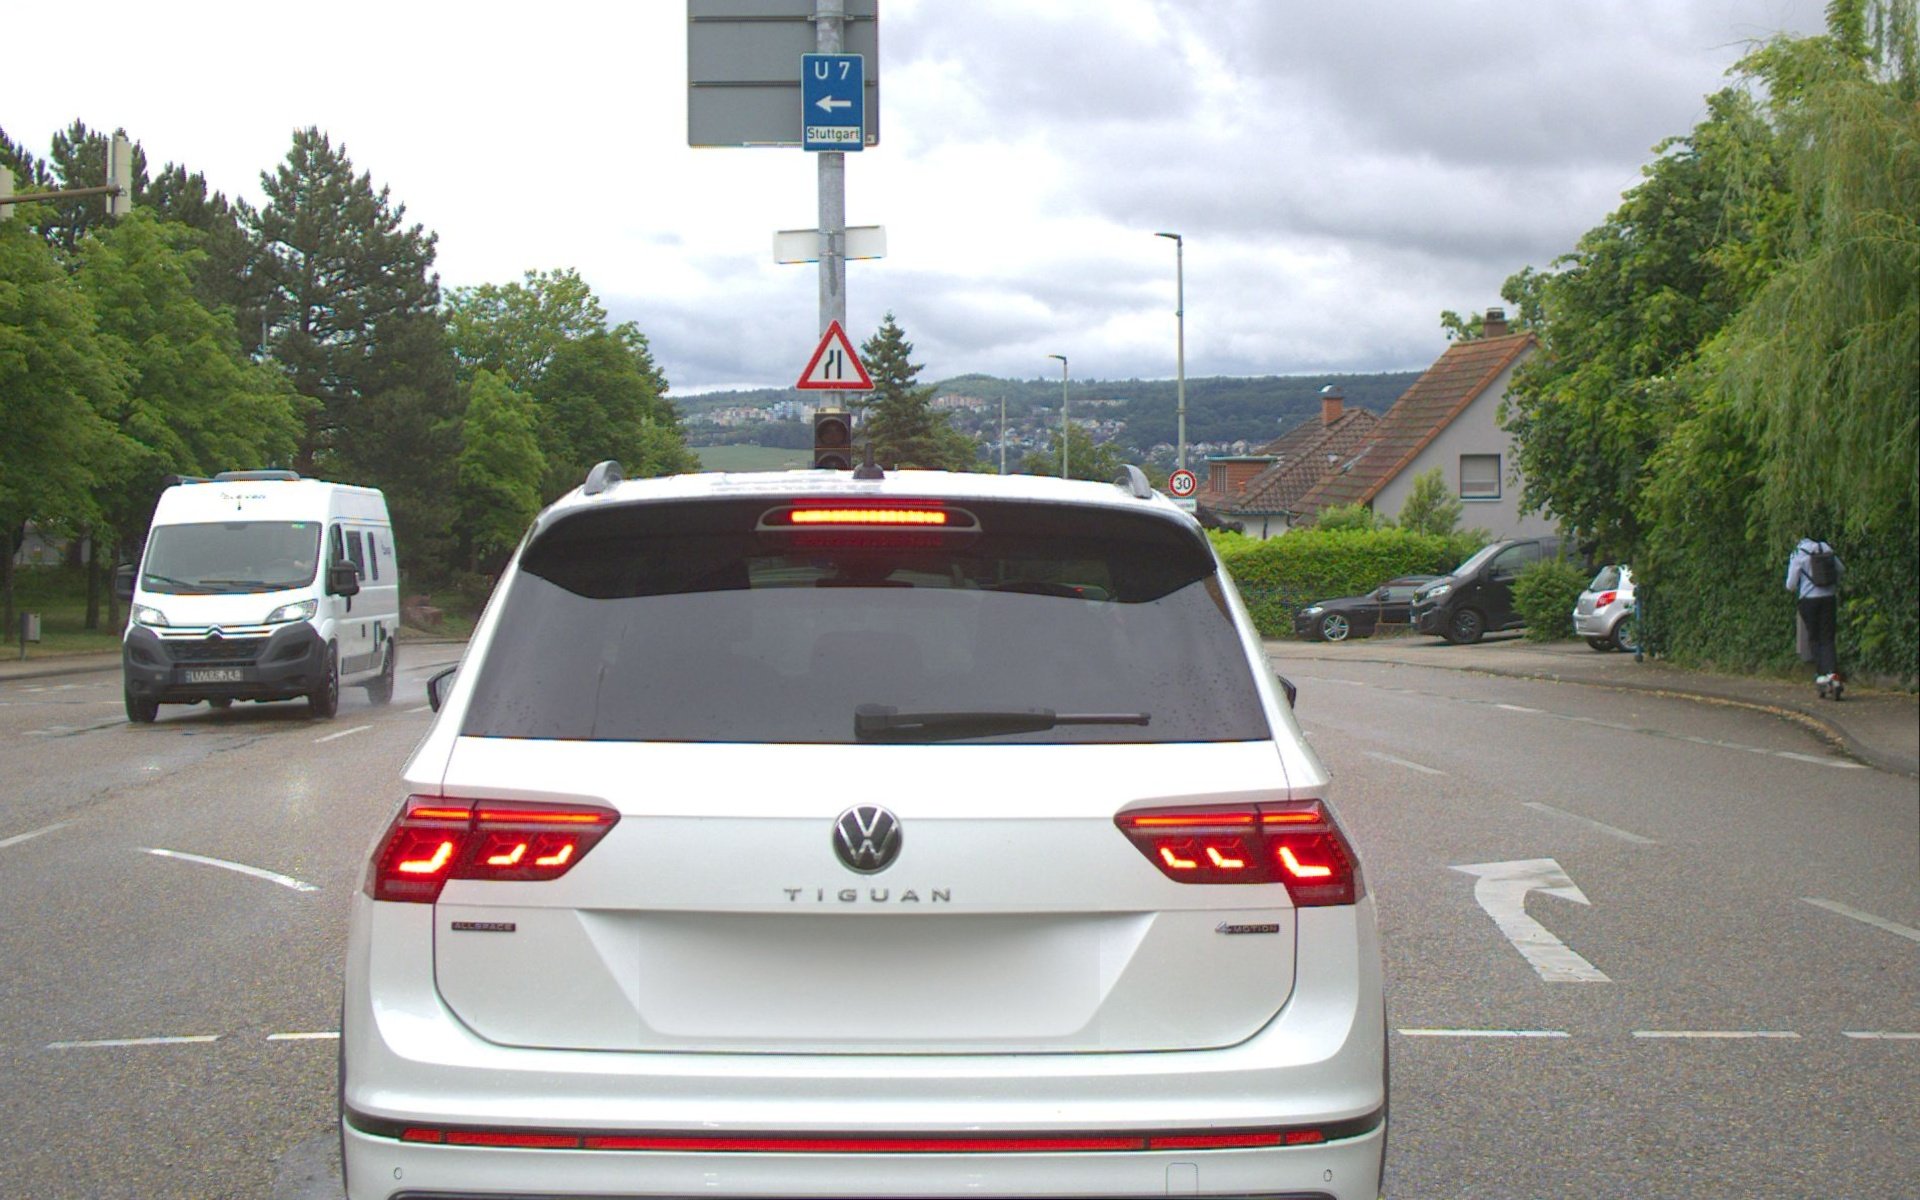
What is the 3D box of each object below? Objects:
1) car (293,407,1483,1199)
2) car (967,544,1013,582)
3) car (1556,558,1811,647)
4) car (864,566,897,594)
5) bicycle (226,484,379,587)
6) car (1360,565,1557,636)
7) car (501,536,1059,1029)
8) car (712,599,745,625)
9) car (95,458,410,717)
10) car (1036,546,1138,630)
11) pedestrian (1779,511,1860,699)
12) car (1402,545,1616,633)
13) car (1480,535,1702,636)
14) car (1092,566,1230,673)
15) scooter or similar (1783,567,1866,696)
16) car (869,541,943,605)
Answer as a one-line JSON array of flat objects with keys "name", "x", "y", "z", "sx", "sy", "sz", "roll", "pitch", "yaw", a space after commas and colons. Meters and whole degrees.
[{"name": "car", "x": -0.168, "y": 0.548, "z": 7.338, "sx": 1.763, "sy": 1.690, "sz": 4.273, "roll": 2, "pitch": 1, "yaw": -1}, {"name": "car", "x": 1.254, "y": -1.587, "z": 145.738, "sx": 1.850, "sy": 1.569, "sz": 4.000, "roll": -1, "pitch": 1, "yaw": 0}, {"name": "car", "x": 11.861, "y": 0.043, "z": 56.484, "sx": 3.713, "sy": 1.390, "sz": 1.729, "roll": -1, "pitch": 0, "yaw": -7}, {"name": "car", "x": -4.622, "y": -1.200, "z": 201.145, "sx": 1.850, "sy": 1.569, "sz": 4.000, "roll": -1, "pitch": 1, "yaw": 0}, {"name": "bicycle", "x": -7.598, "y": -0.746, "z": 39.757, "sx": 1.636, "sy": 1.122, "sz": 0.468, "roll": -2, "pitch": 2, "yaw": -2}, {"name": "car", "x": 9.993, "y": 0.014, "z": 69.065, "sx": 3.687, "sy": 1.365, "sz": 1.519, "roll": 1, "pitch": -1, "yaw": -2}, {"name": "car", "x": -0.592, "y": 0.562, "z": 13.127, "sx": 1.798, "sy": 1.584, "sz": 3.926, "roll": 1, "pitch": 1, "yaw": 0}, {"name": "car", "x": -15.759, "y": 0.808, "z": 234.414, "sx": 1.993, "sy": 1.722, "sz": 4.000, "roll": 2, "pitch": 1, "yaw": -1}, {"name": "car", "x": -7.402, "y": -0.181, "z": 36.639, "sx": 2.297, "sy": 2.519, "sz": 5.774, "roll": -1, "pitch": 1, "yaw": -2}, {"name": "car", "x": 2.266, "y": -0.241, "z": 62.125, "sx": 1.664, "sy": 1.422, "sz": 4.305, "roll": -1, "pitch": 1, "yaw": 0}, {"name": "pedestrian", "x": 9.239, "y": 0.046, "z": 36.961, "sx": 0.655, "sy": 1.995, "sz": 0.718, "roll": 0, "pitch": 1, "yaw": -4}, {"name": "car", "x": 10.250, "y": -0.218, "z": 64.336, "sx": 3.627, "sy": 1.620, "sz": 1.792, "roll": 0, "pitch": 1, "yaw": -4}, {"name": "car", "x": 11.334, "y": -0.283, "z": 61.897, "sx": 3.627, "sy": 1.740, "sz": 1.708, "roll": 0, "pitch": 2, "yaw": -4}, {"name": "car", "x": 2.809, "y": 0.245, "z": 48.672, "sx": 1.625, "sy": 1.398, "sz": 3.690, "roll": 1, "pitch": 1, "yaw": -2}, {"name": "scooter or similar", "x": 9.269, "y": 0.326, "z": 36.894, "sx": 0.461, "sy": 1.356, "sz": 1.385, "roll": 0, "pitch": 1, "yaw": -4}, {"name": "car", "x": -1.411, "y": -0.709, "z": 88.085, "sx": 1.735, "sy": 1.569, "sz": 4.069, "roll": 1, "pitch": 1, "yaw": -3}]
